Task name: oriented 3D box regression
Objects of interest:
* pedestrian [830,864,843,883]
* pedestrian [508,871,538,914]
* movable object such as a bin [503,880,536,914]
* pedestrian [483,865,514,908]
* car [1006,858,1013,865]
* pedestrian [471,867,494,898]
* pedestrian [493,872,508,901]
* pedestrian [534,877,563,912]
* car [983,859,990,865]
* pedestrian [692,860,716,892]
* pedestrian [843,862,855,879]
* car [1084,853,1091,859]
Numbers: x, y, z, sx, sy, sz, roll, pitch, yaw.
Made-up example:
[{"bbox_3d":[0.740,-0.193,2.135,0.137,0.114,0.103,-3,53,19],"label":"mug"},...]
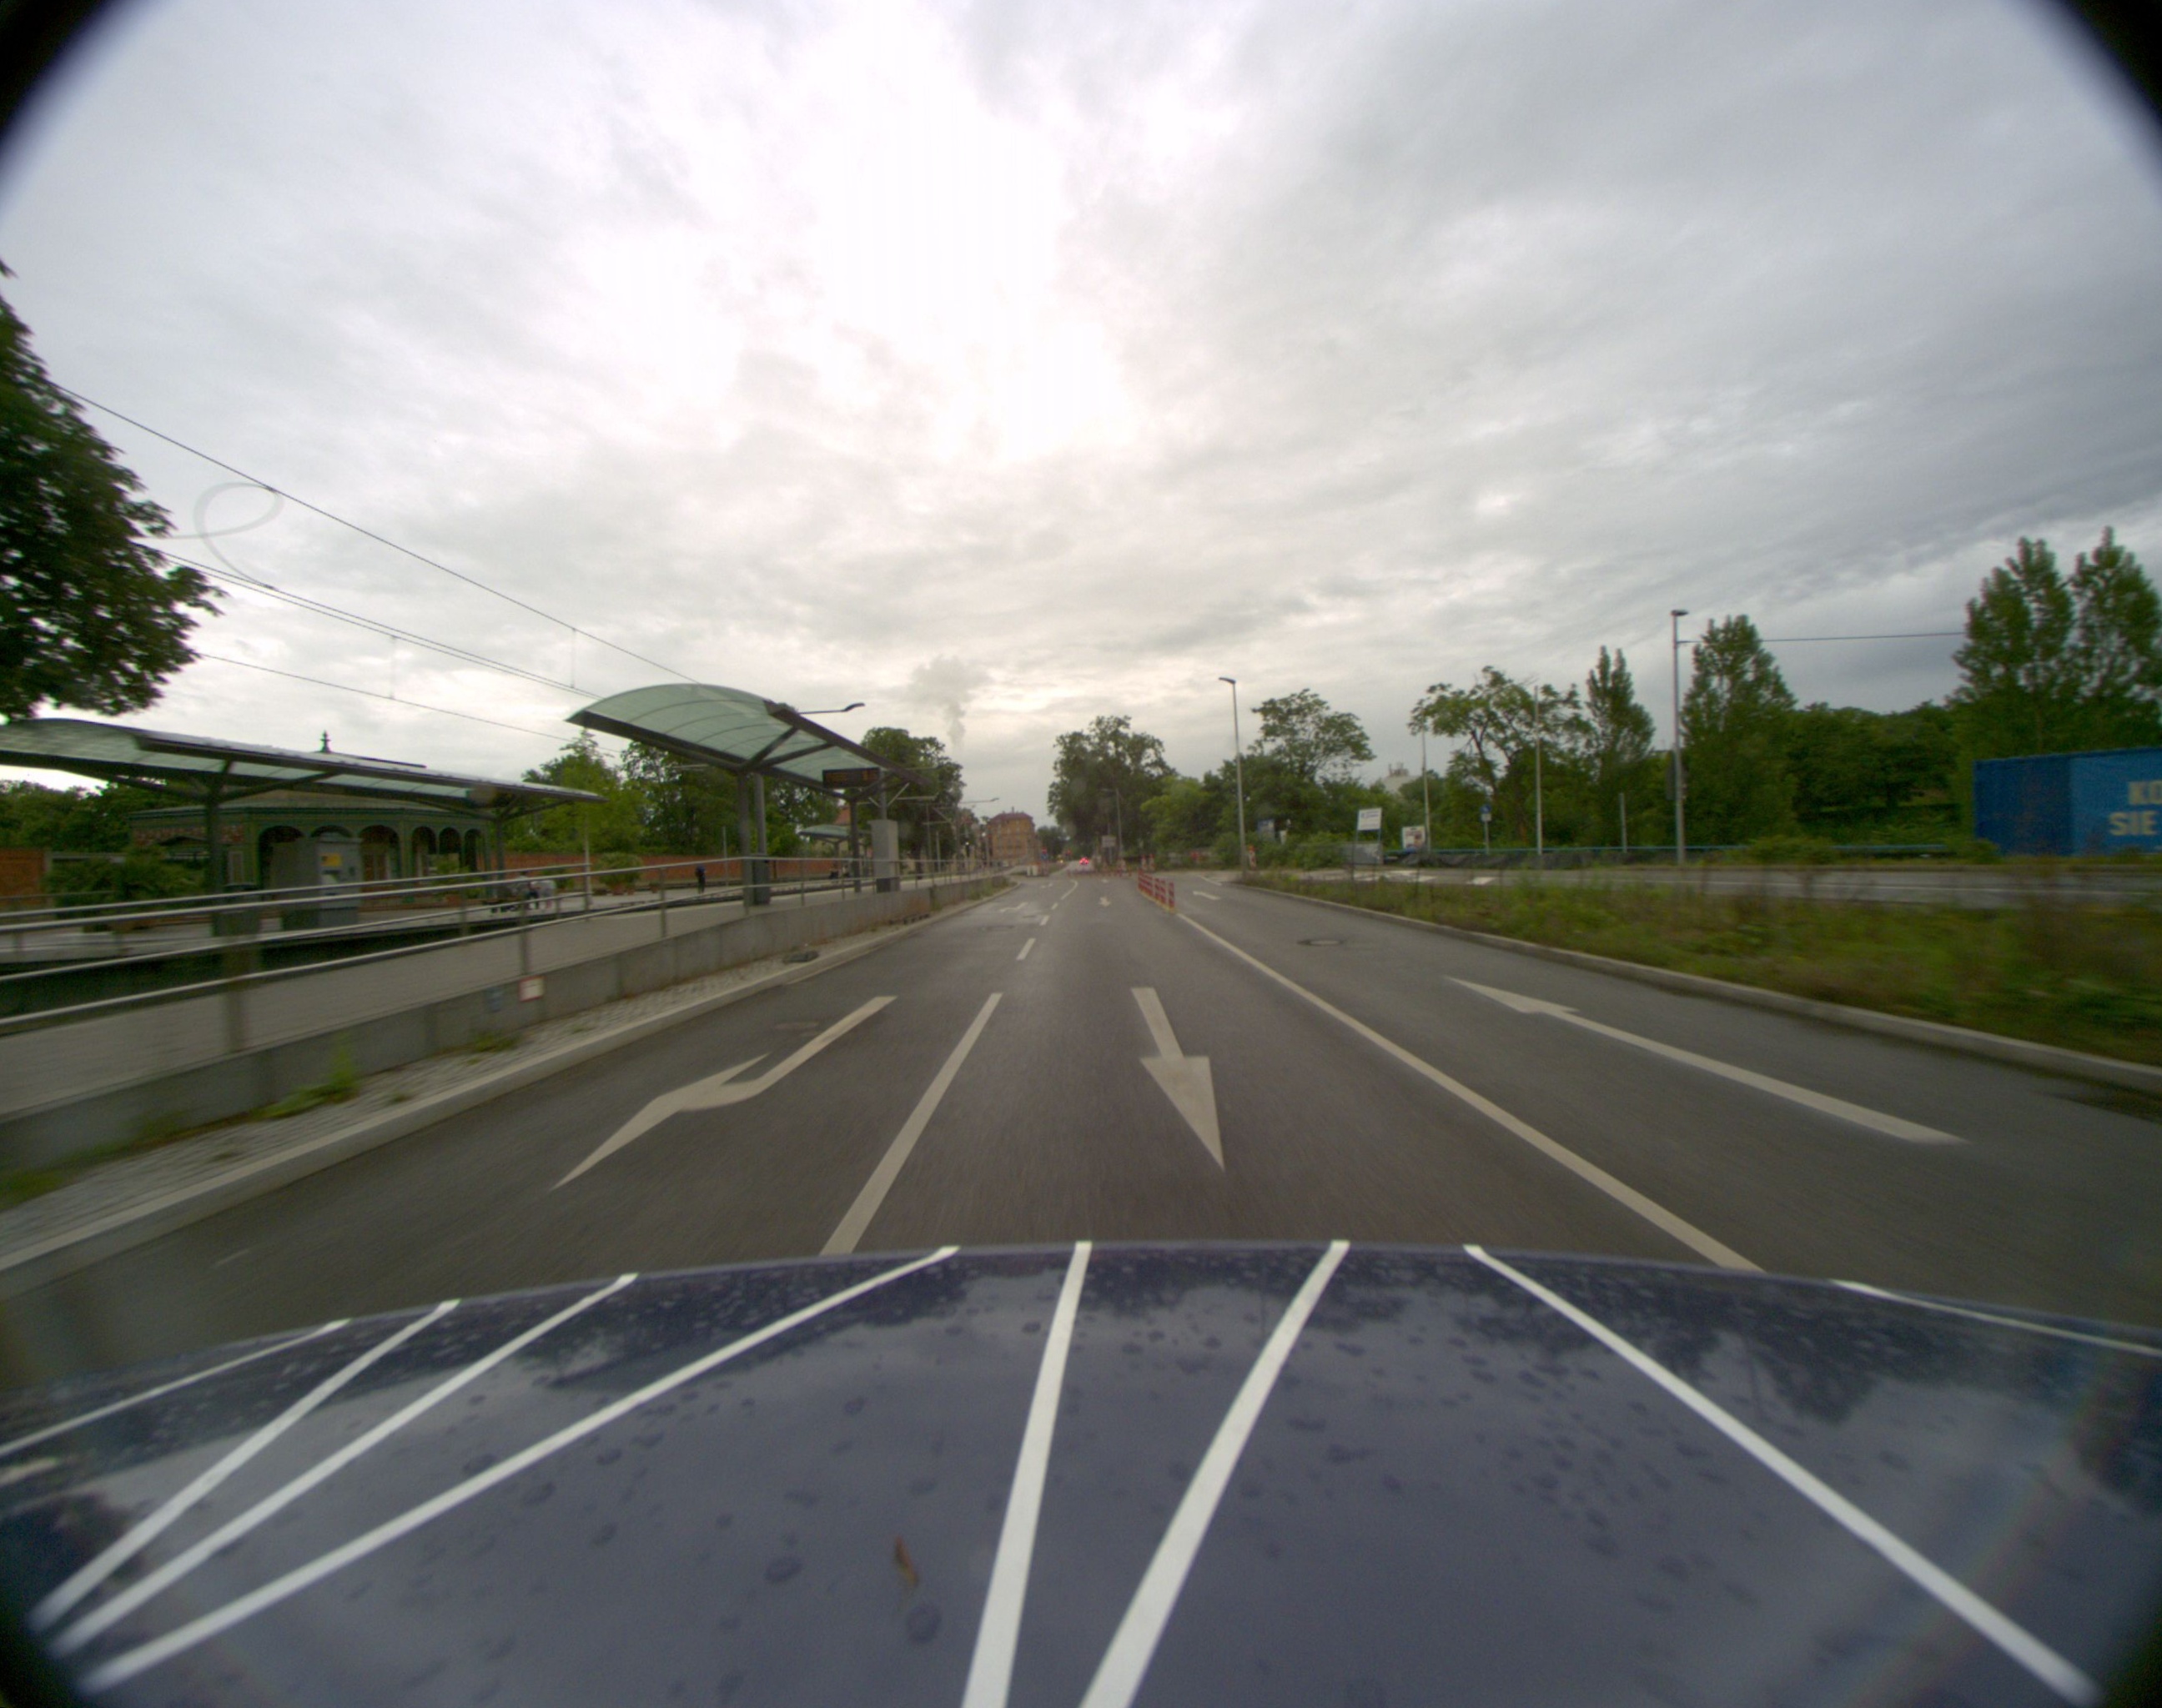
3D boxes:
[{"bbox_3d":[-16.555,1.322,51.529,0.520,1.206,0.782,-7,2,-3],"label":"pedestrian"},{"bbox_3d":[-16.336,1.120,22.254,0.438,1.219,0.551,-2,0,1],"label":"pedestrian"},{"bbox_3d":[-17.285,1.319,23.405,0.438,1.003,0.682,-2,0,1],"label":"movable object such as a bin"},{"bbox_3d":[-16.931,0.938,22.085,0.438,1.219,0.551,-2,0,1],"label":"pedestrian"},{"bbox_3d":[-20.270,2.161,214.809,1.844,1.630,4.141,-6,1,-4],"label":"car"},{"bbox_3d":[-34.375,1.643,43.661,0.532,1.701,0.695,-5,2,12],"label":"pedestrian"},{"bbox_3d":[-33.978,1.923,44.485,0.550,1.647,0.470,-3,1,35],"label":"pedestrian"},{"bbox_3d":[-16.235,1.228,23.163,0.438,1.003,0.551,-2,1,1],"label":"pedestrian"},{"bbox_3d":[-29.066,2.433,233.278,1.831,1.573,3.997,-3,1,-6],"label":"car"},{"bbox_3d":[-21.662,1.261,43.679,0.722,1.780,1.182,-1,0,1],"label":"pedestrian"},{"bbox_3d":[-15.920,1.122,52.174,0.602,1.112,0.519,-8,2,-15],"label":"pedestrian"},{"bbox_3d":[1.745,0.415,195.980,1.713,1.490,4.719,-3,0,-1],"label":"car"}]
